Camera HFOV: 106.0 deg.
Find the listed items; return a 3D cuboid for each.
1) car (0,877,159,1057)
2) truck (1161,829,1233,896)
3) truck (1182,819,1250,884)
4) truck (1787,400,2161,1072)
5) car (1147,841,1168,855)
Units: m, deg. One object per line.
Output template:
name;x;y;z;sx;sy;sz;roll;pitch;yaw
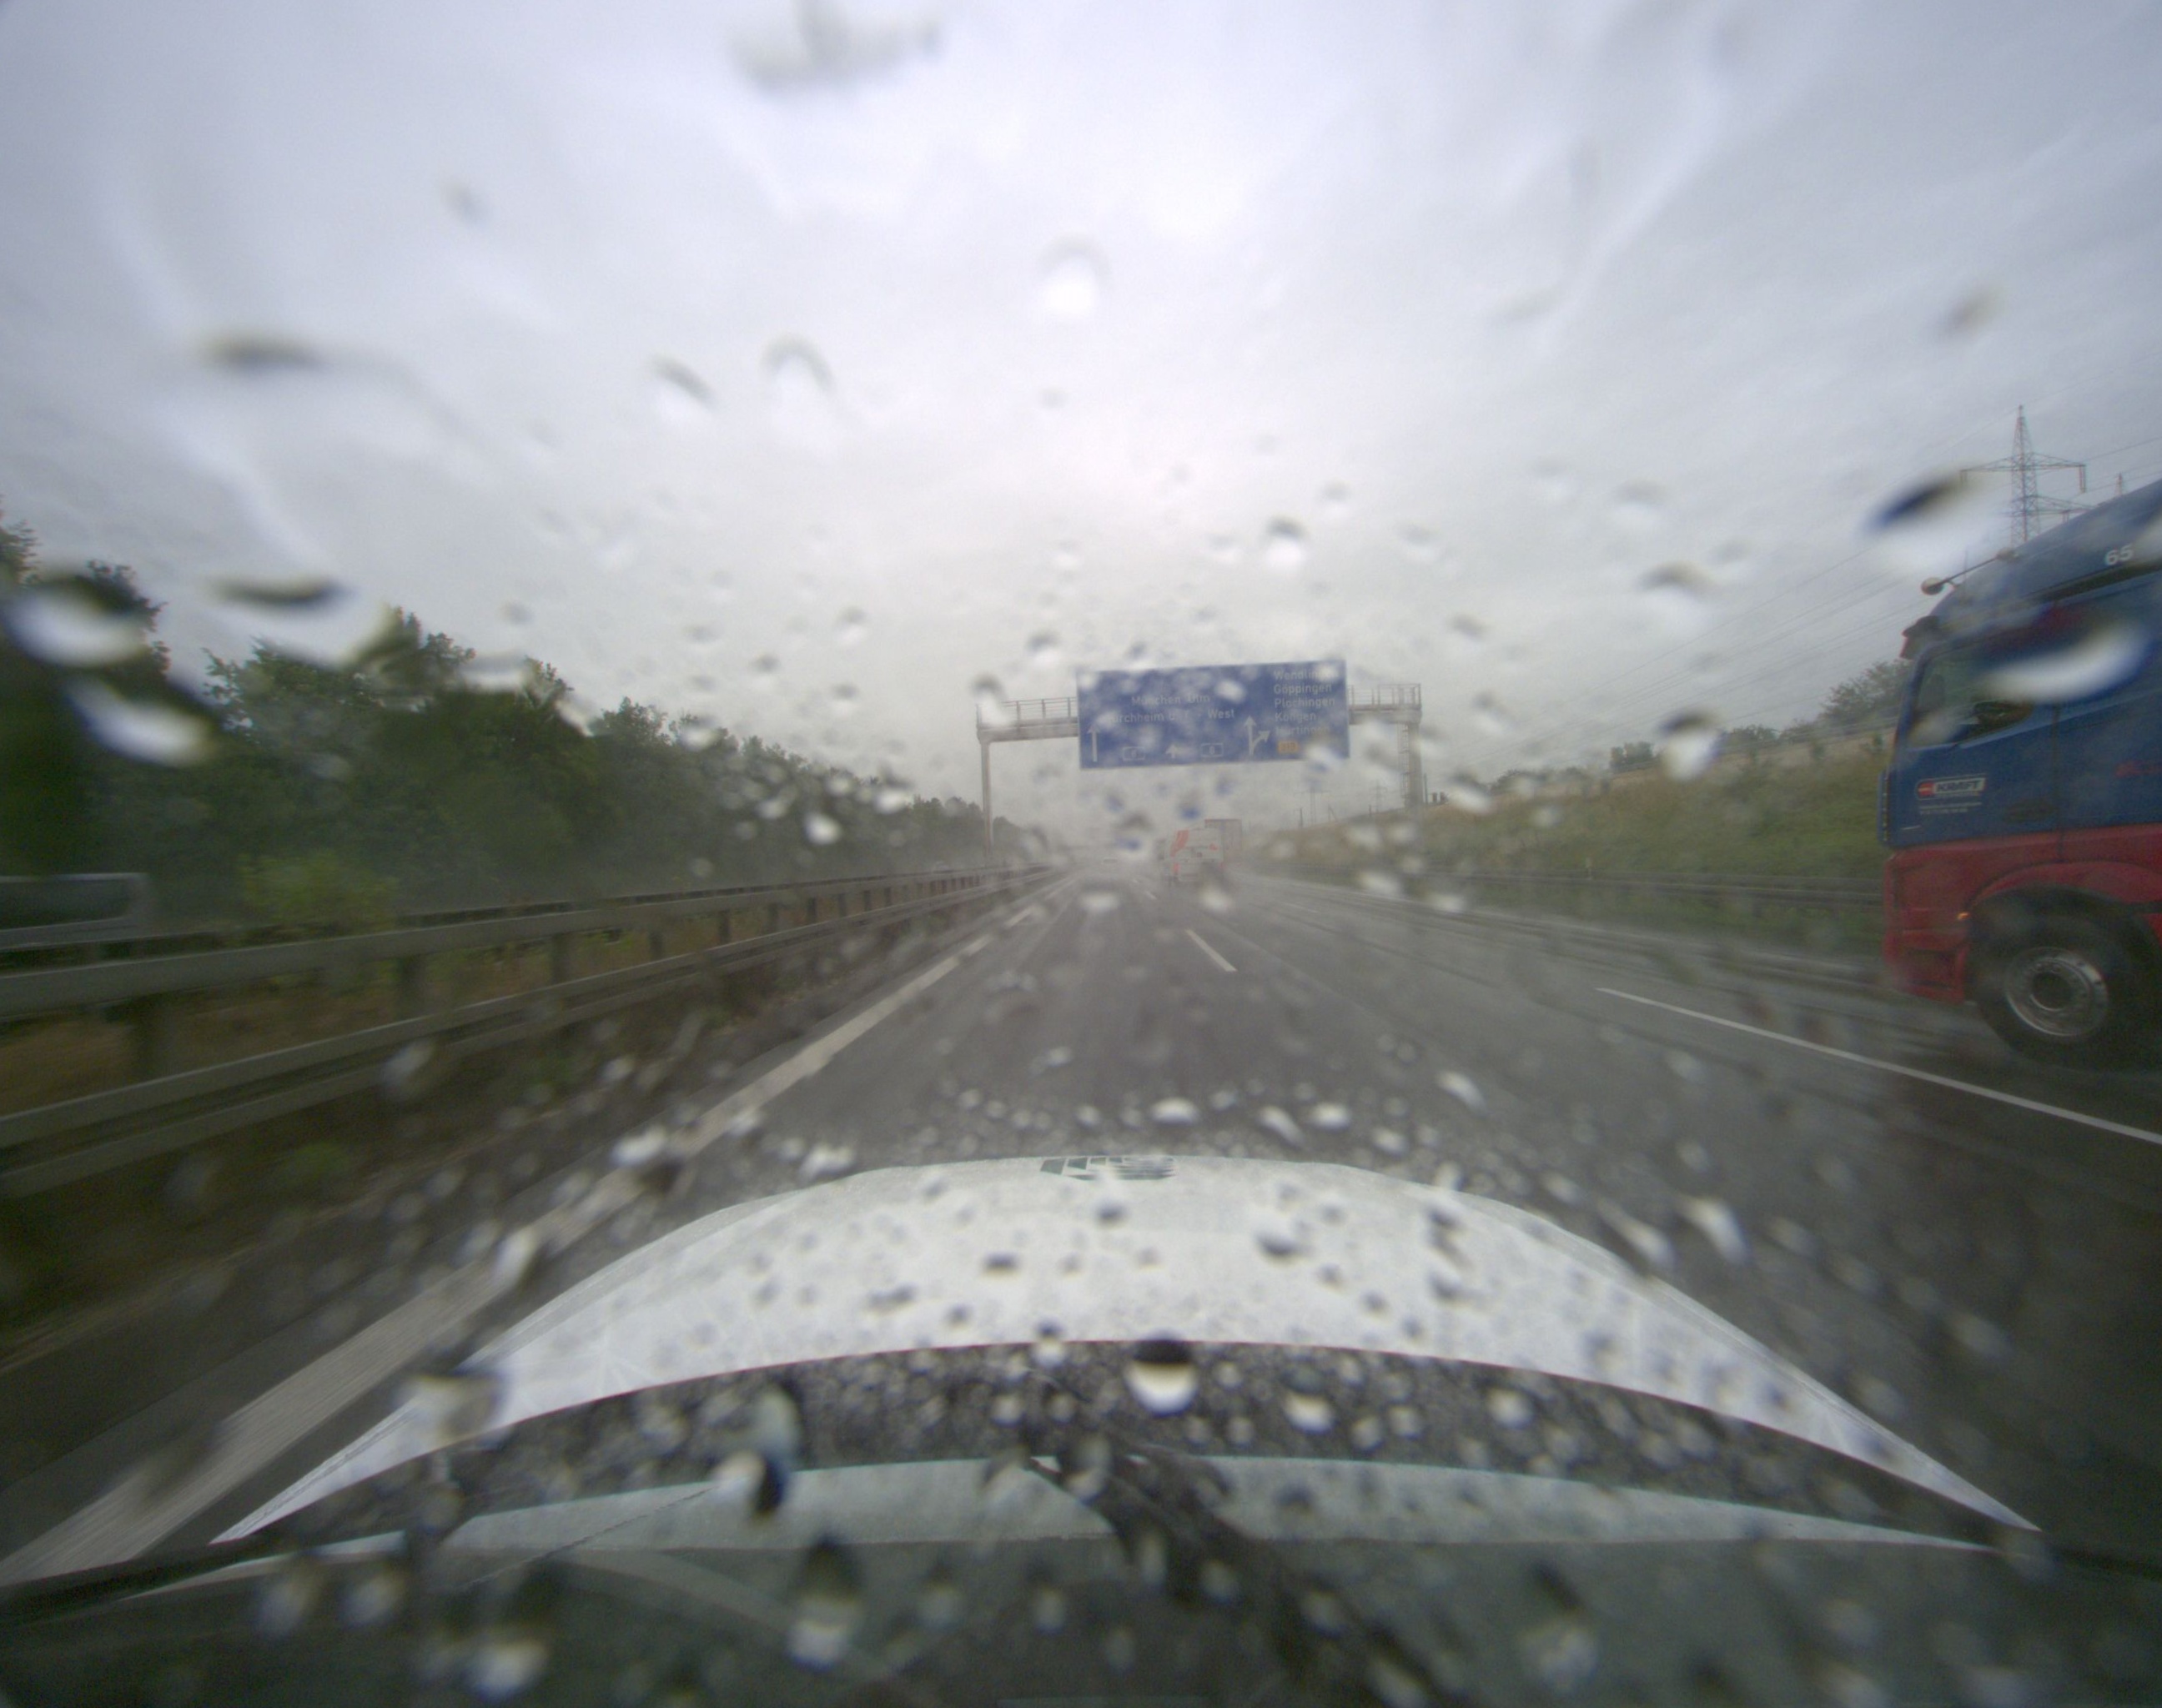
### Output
car;-14.480;1.451;9.512;2.025;2.173;4.666;-1;1;1
truck;4.607;0.280;33.209;2.410;2.492;5.564;-1;1;3
truck;10.466;-0.131;65.239;3.029;4.588;16.354;-1;0;1
truck;7.657;-0.705;4.907;2.488;3.983;5.077;-1;0;1
car;11.591;-0.954;123.681;2.778;2.013;4.995;-1;1;2
